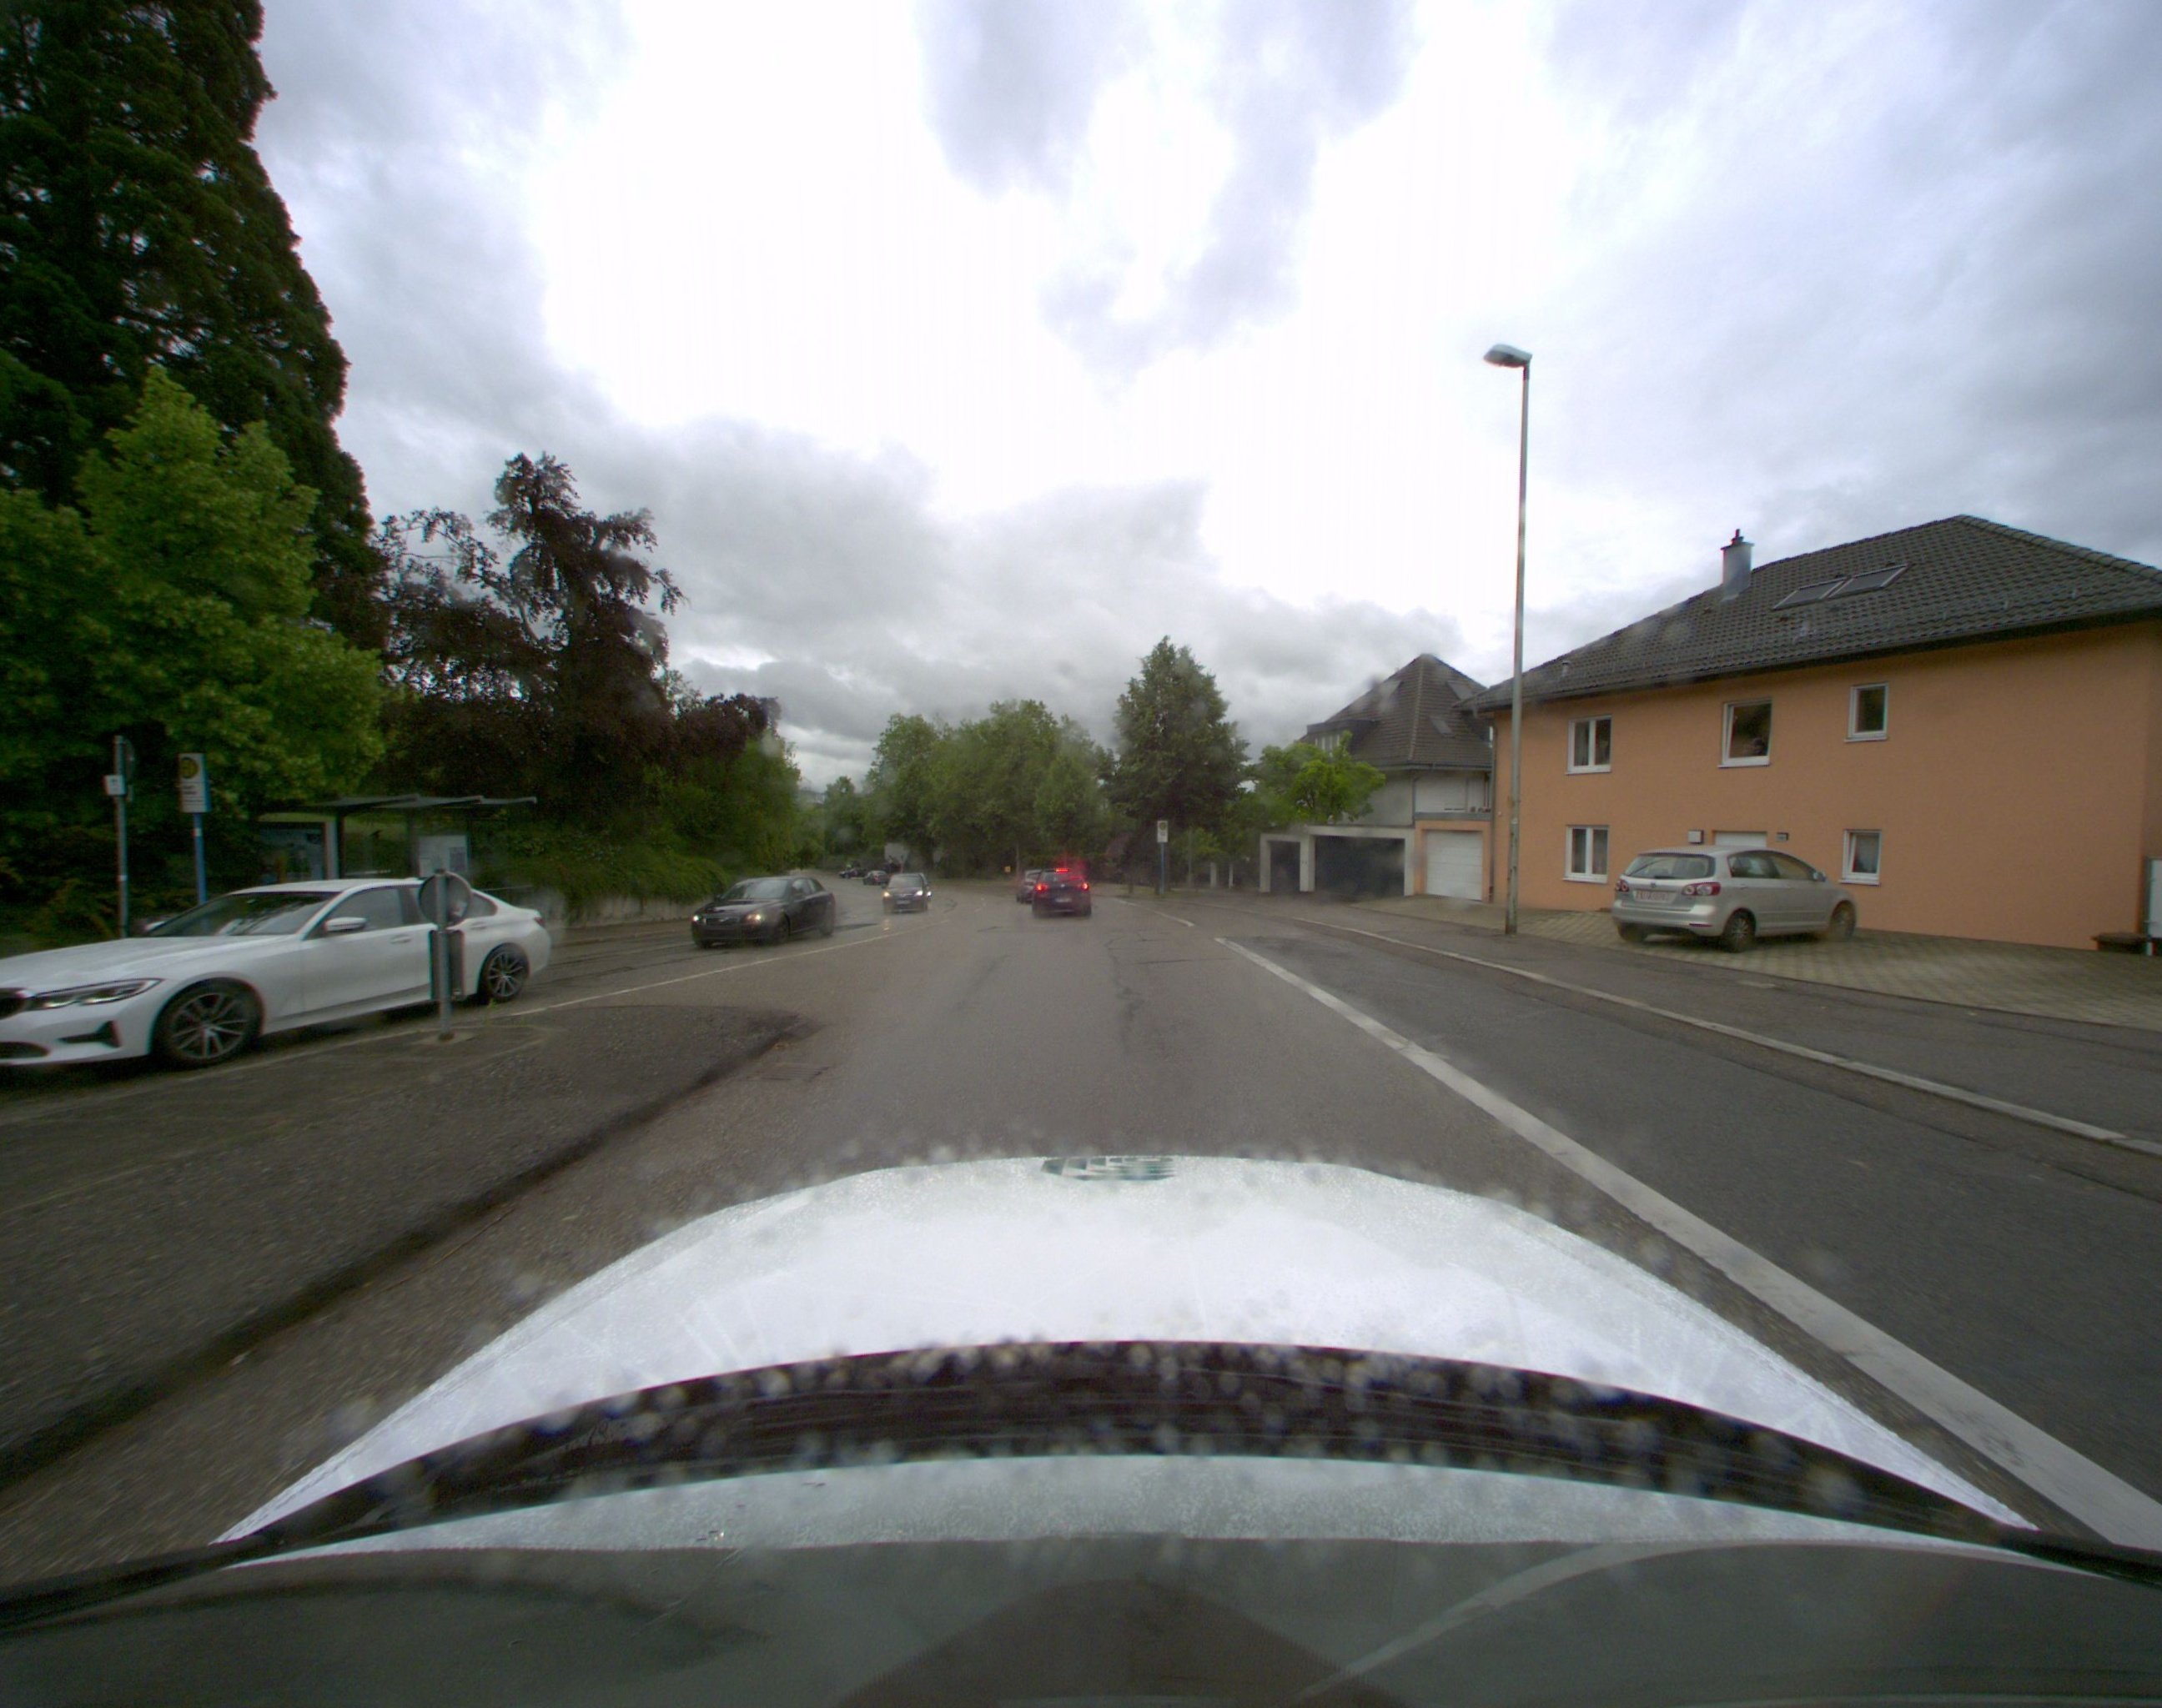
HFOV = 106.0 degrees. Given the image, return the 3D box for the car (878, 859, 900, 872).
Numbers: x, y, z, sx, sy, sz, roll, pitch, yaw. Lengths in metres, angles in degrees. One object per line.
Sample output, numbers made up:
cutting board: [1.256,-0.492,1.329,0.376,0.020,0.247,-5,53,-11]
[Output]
car: [-28.339,1.651,120.076,1.742,1.469,4.575,1,3,6]

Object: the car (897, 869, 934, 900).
car: [-9.229,1.659,45.668,1.810,1.577,4.671,-1,-1,-9]

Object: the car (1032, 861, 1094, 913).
car: [-0.638,0.997,25.800,1.718,1.464,3.994,-2,-1,-4]

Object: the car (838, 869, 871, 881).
car: [-30.257,2.801,108.557,4.139,1.384,1.716,-1,-1,-19]

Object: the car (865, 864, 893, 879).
car: [-20.443,1.753,82.202,1.732,1.464,3.962,2,-1,-30]

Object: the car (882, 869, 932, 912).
car: [-7.020,1.429,33.140,1.721,1.464,4.363,-2,0,-9]

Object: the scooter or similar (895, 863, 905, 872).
scooter or similar: [-26.340,1.917,118.637,1.346,1.285,0.555,-3,1,-38]

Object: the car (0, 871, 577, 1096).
car: [-7.474,0.950,7.957,1.820,1.402,4.826,-2,0,4]

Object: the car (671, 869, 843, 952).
car: [-6.694,1.095,17.402,1.784,1.447,4.404,-1,0,1]

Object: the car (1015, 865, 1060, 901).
car: [-2.034,1.279,37.185,1.753,1.464,3.990,-2,0,-7]

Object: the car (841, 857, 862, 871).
car: [-33.728,1.409,119.850,1.943,1.689,4.899,1,3,-4]

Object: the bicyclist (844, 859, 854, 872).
bicyclist: [-32.282,1.560,113.406,1.286,1.755,0.849,-1,0,-20]

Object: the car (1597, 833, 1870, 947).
car: [10.565,0.495,13.204,3.871,1.566,1.715,-2,0,-21]

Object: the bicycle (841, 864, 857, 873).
bicycle: [-32.259,2.040,113.401,2.038,1.155,0.849,-2,0,-20]
